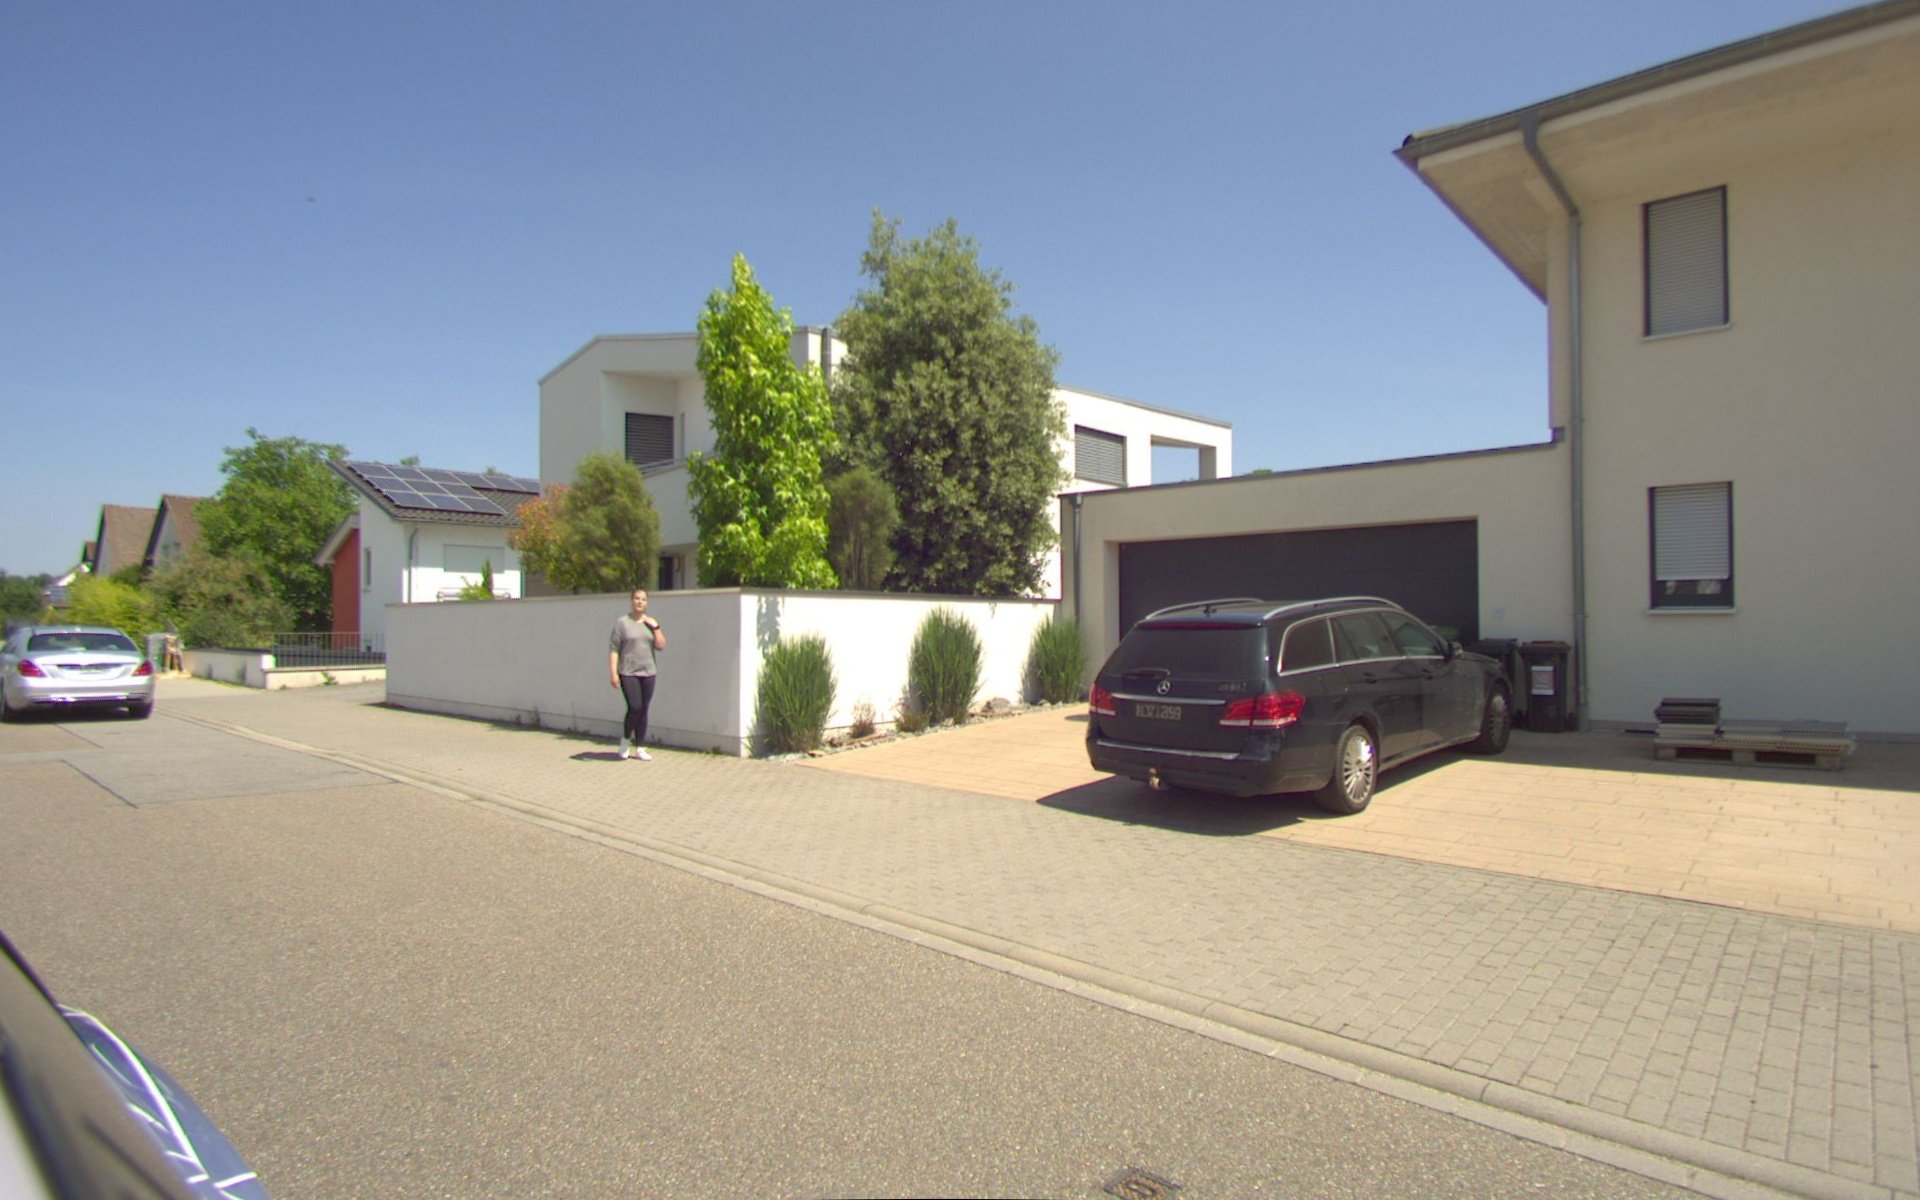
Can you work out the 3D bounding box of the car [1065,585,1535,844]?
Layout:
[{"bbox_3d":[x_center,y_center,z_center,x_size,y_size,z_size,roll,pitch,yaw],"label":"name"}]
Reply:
[{"bbox_3d":[3.017,0.701,8.392,4.377,1.484,1.852,-3,0,-44],"label":"car"}]

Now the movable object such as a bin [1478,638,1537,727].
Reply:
[{"bbox_3d":[5.645,0.838,10.440,0.475,0.890,0.307,-2,-2,36],"label":"movable object such as a bin"}]

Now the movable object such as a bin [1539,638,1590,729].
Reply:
[{"bbox_3d":[6.052,0.831,10.135,0.394,0.890,0.182,-2,-2,37],"label":"movable object such as a bin"}]

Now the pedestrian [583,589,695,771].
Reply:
[{"bbox_3d":[-3.316,0.785,10.445,0.961,1.760,0.706,-2,-1,43],"label":"pedestrian"}]

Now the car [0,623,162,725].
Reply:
[{"bbox_3d":[-15.152,1.174,17.082,4.698,1.490,1.833,-2,-4,42],"label":"car"}]

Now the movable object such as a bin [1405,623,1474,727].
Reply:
[{"bbox_3d":[5.159,0.789,10.891,0.589,1.081,0.381,-2,-2,36],"label":"movable object such as a bin"}]
